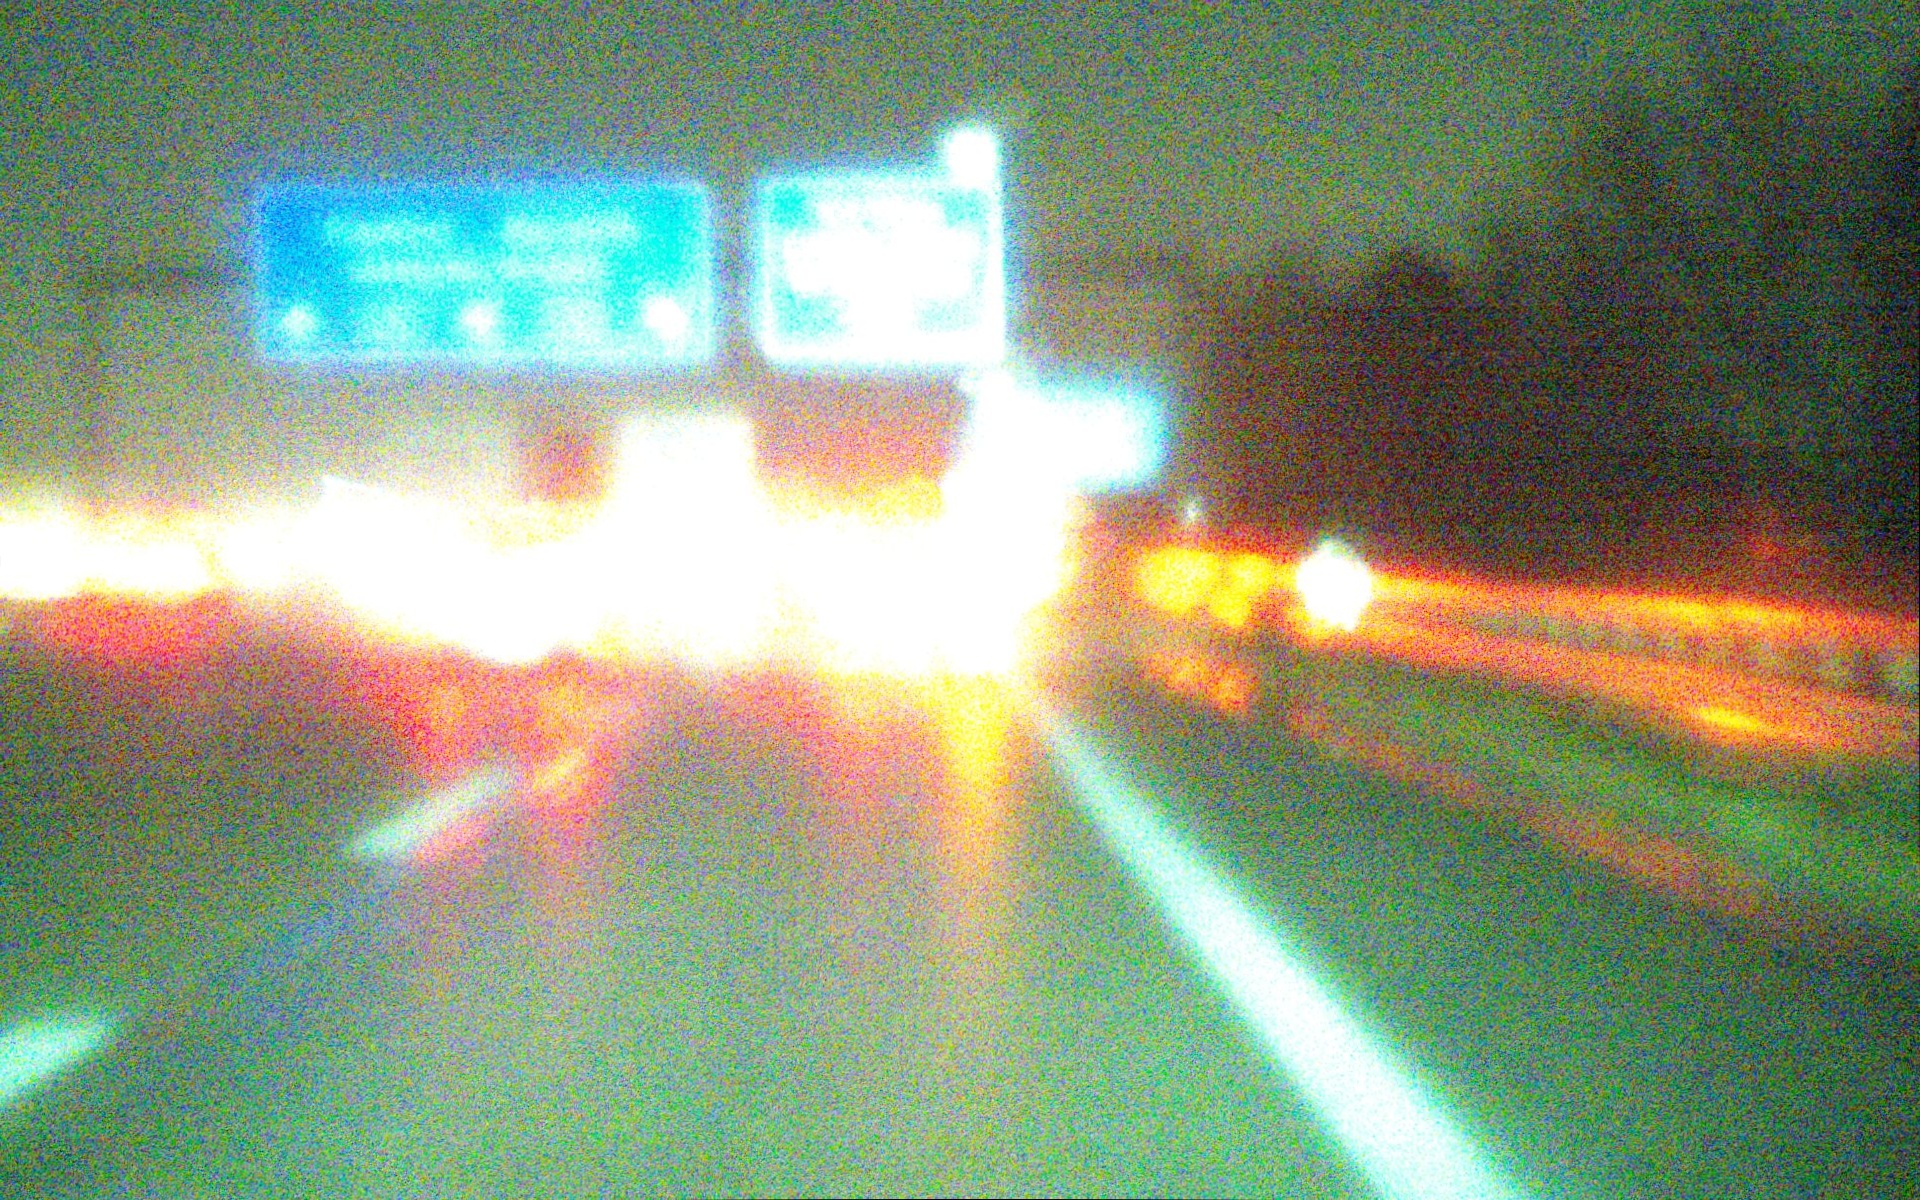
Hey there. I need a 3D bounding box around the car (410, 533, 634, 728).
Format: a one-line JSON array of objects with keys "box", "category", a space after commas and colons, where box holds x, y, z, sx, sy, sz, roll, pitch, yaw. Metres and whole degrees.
[{"box": [-4.820, 0.292, 38.428, 2.125, 2.007, 4.646, 1, 1, -3], "category": "car"}]

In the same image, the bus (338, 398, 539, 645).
[{"box": [-10.305, -1.513, 69.018, 3.096, 4.492, 10.915, 1, 1, -4], "category": "bus"}]

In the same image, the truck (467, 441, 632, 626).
[{"box": [-13.245, -2.126, 112.163, 4.210, 5.629, 11.468, 1, 1, -2], "category": "truck"}]

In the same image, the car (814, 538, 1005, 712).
[{"box": [-0.569, 0.244, 38.526, 1.993, 1.801, 4.000, 1, 1, -1], "category": "car"}]

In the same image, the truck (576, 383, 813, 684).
[{"box": [-5.288, -1.326, 70.973, 4.210, 5.629, 11.468, 1, 1, -2], "category": "truck"}]

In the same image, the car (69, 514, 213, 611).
[{"box": [-14.126, -0.652, 59.469, 1.993, 1.590, 4.001, 1, 1, -7], "category": "car"}]
